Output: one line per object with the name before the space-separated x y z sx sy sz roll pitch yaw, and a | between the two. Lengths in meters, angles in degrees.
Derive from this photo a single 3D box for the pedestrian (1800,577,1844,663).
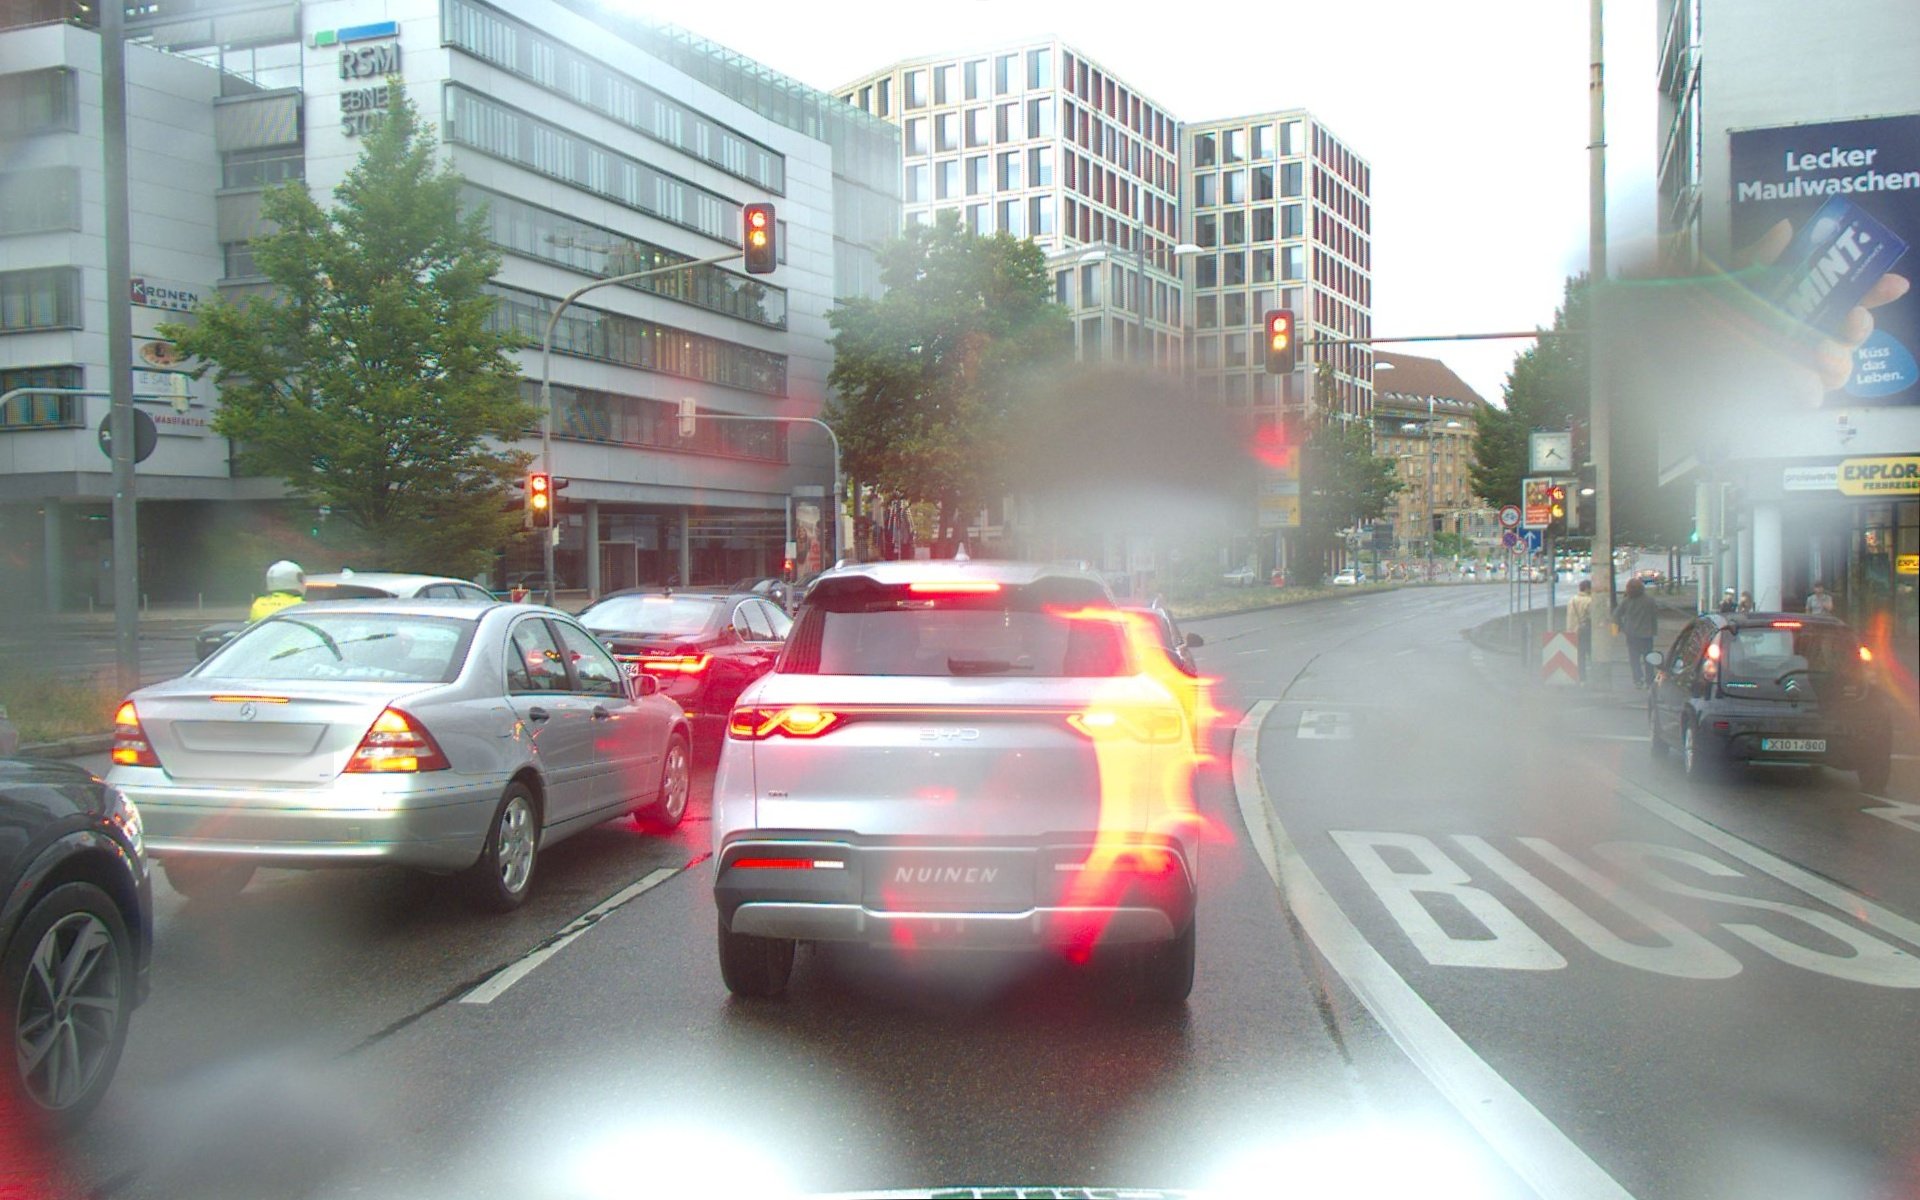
pedestrian | 18.579 0.429 35.637 0.659 1.825 0.768 1 0 43

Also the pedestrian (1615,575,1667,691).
pedestrian | 10.966 0.517 26.668 0.733 1.829 0.817 0 1 20

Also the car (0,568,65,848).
car | -6.268 0.607 7.479 1.827 1.560 4.777 1 1 0

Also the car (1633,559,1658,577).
car | 62.738 -2.903 151.359 1.662 1.512 3.993 1 0 29

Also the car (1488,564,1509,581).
car | 66.820 -3.395 205.343 1.954 2.049 3.996 1 0 26

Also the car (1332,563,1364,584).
car | 27.903 -1.934 118.949 1.598 1.462 3.907 0 1 23

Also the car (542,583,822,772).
car | -2.440 0.636 15.485 1.537 1.512 4.003 1 0 6

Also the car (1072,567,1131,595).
car | 7.903 -1.059 92.172 1.955 1.514 3.996 0 1 27

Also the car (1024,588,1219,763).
car | 1.736 0.676 16.643 1.657 1.512 4.003 1 0 10

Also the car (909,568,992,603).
car | -0.382 -0.679 75.257 1.777 1.536 5.193 0 1 25

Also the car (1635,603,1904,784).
car | 7.480 0.782 15.641 1.537 1.454 4.003 1 0 15

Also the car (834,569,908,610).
car | -3.645 -0.421 68.328 1.605 1.598 3.717 1 0 23

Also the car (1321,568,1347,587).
car | 37.112 -2.209 164.153 1.577 1.771 3.437 1 0 31

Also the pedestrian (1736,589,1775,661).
pedestrian | 17.627 0.543 36.646 0.615 1.570 0.649 1 0 43

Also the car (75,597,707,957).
car | -2.658 0.727 8.818 1.537 1.432 4.112 1 0 6

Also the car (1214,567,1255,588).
car | 20.421 -1.660 122.922 1.955 1.514 3.996 0 1 27

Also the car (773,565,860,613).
car | -4.919 -0.382 57.304 1.609 1.563 4.155 1 0 16

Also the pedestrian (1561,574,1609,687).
pedestrian | 10.300 0.481 27.275 0.733 1.829 0.817 0 1 20

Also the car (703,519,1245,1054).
car | 0.089 0.611 7.372 1.739 1.708 4.000 1 0 1

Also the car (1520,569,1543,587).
car | 52.873 -2.029 152.992 1.849 1.671 4.000 1 1 22

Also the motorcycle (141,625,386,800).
motorcycle | -5.287 0.810 12.719 0.783 1.205 2.030 1 0 8

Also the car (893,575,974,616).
car | -0.907 -0.137 58.730 1.655 1.409 3.870 1 0 18

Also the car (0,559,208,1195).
car | -3.127 0.673 2.964 1.614 1.548 4.271 1 1 0

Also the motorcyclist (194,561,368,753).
motorcyclist | -5.234 0.420 12.807 0.753 1.404 1.119 1 0 8

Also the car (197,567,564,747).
car | -5.462 0.492 16.174 1.670 1.512 4.003 1 0 9

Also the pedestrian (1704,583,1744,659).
pedestrian | 17.150 0.466 37.128 0.659 1.684 0.649 1 0 43

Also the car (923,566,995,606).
car | -0.004 -0.565 68.671 1.610 1.608 4.086 1 0 21

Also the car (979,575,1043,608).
car | 2.557 -0.437 81.429 1.598 1.586 4.592 0 1 23

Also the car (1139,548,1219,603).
car | 8.674 -0.944 65.226 1.953 2.049 4.848 1 0 22

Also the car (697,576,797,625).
car | -7.629 -0.007 59.560 1.952 1.638 4.001 2 1 20
